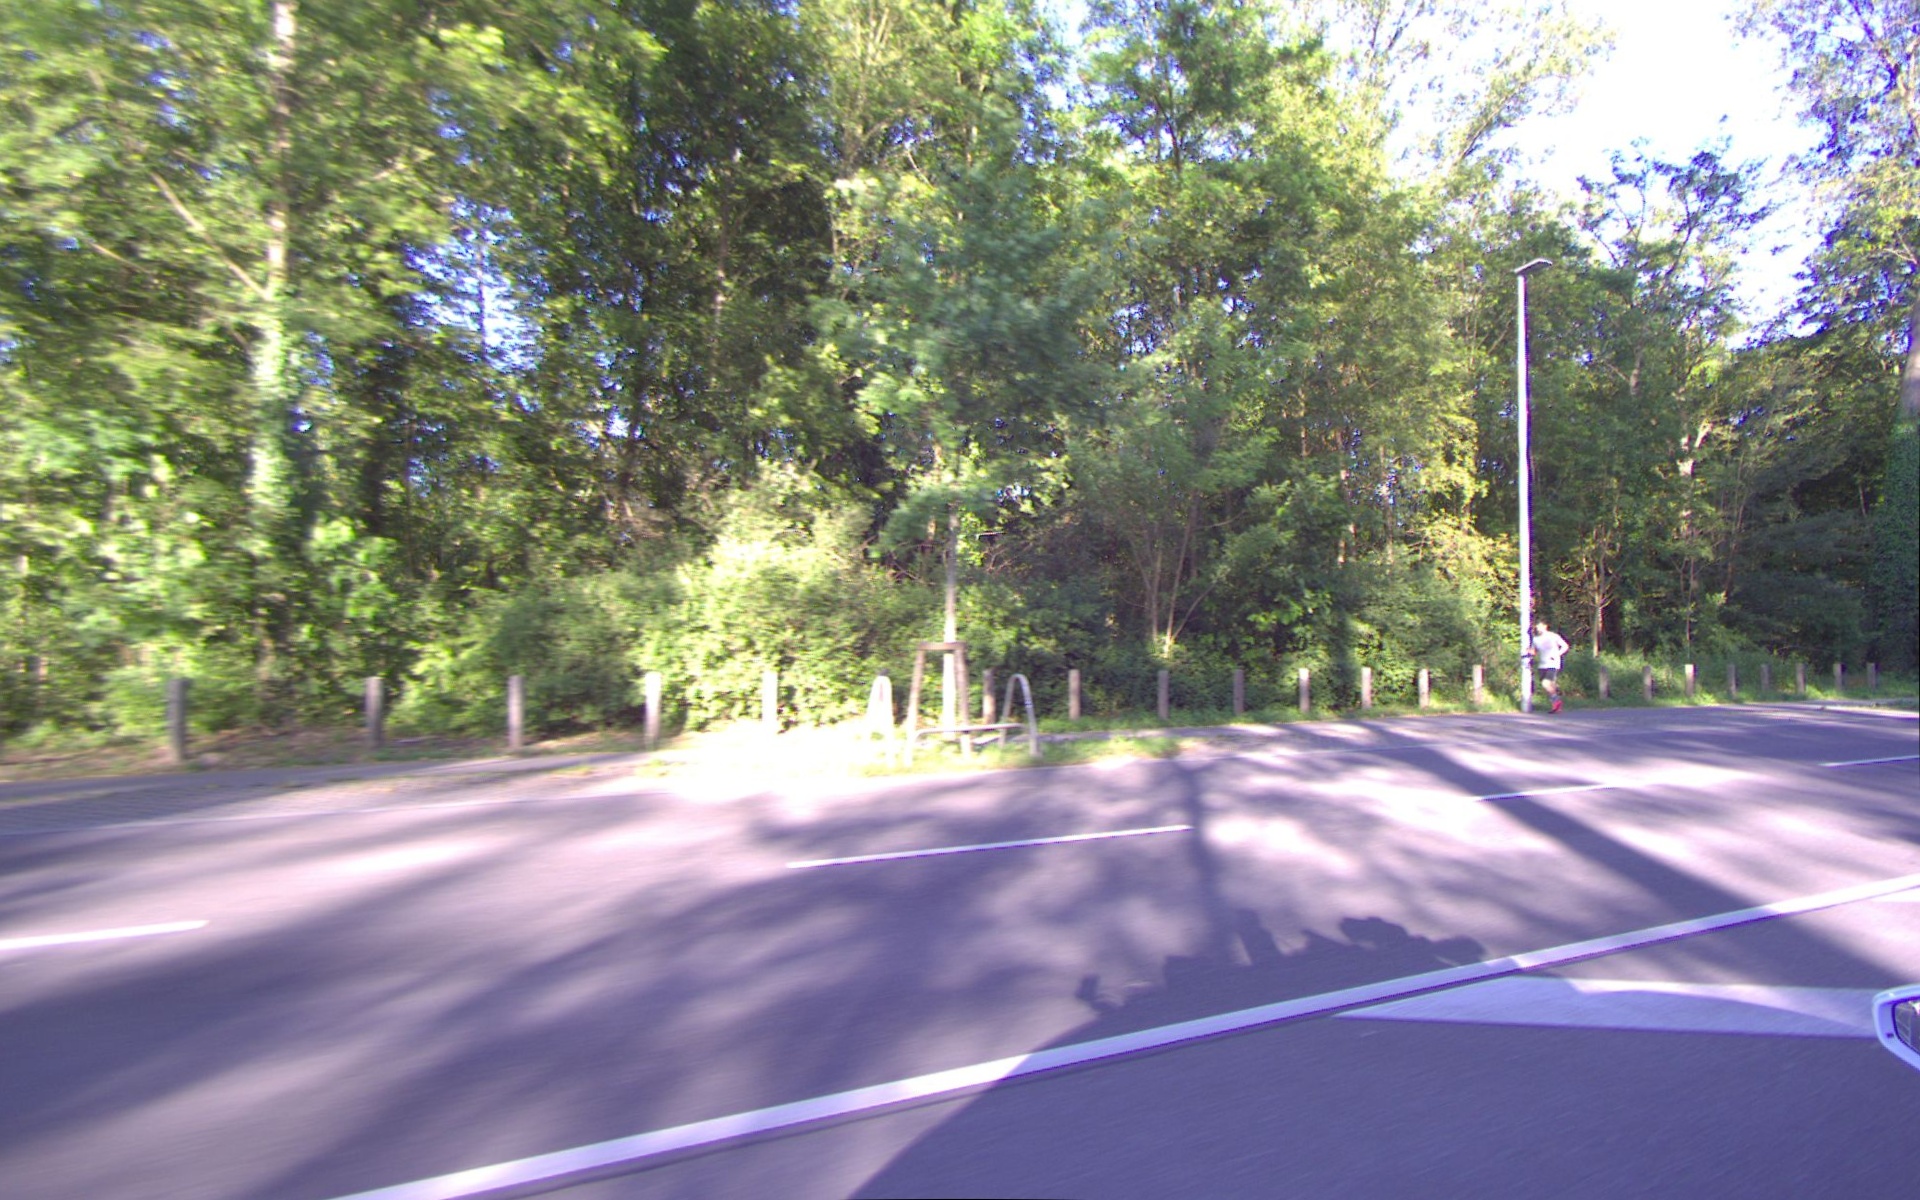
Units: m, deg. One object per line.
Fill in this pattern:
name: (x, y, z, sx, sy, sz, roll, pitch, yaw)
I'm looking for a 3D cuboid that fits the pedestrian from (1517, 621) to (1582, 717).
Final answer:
pedestrian: (11.335, 1.321, 19.333, 0.729, 1.791, 0.767, 2, -4, -30)
